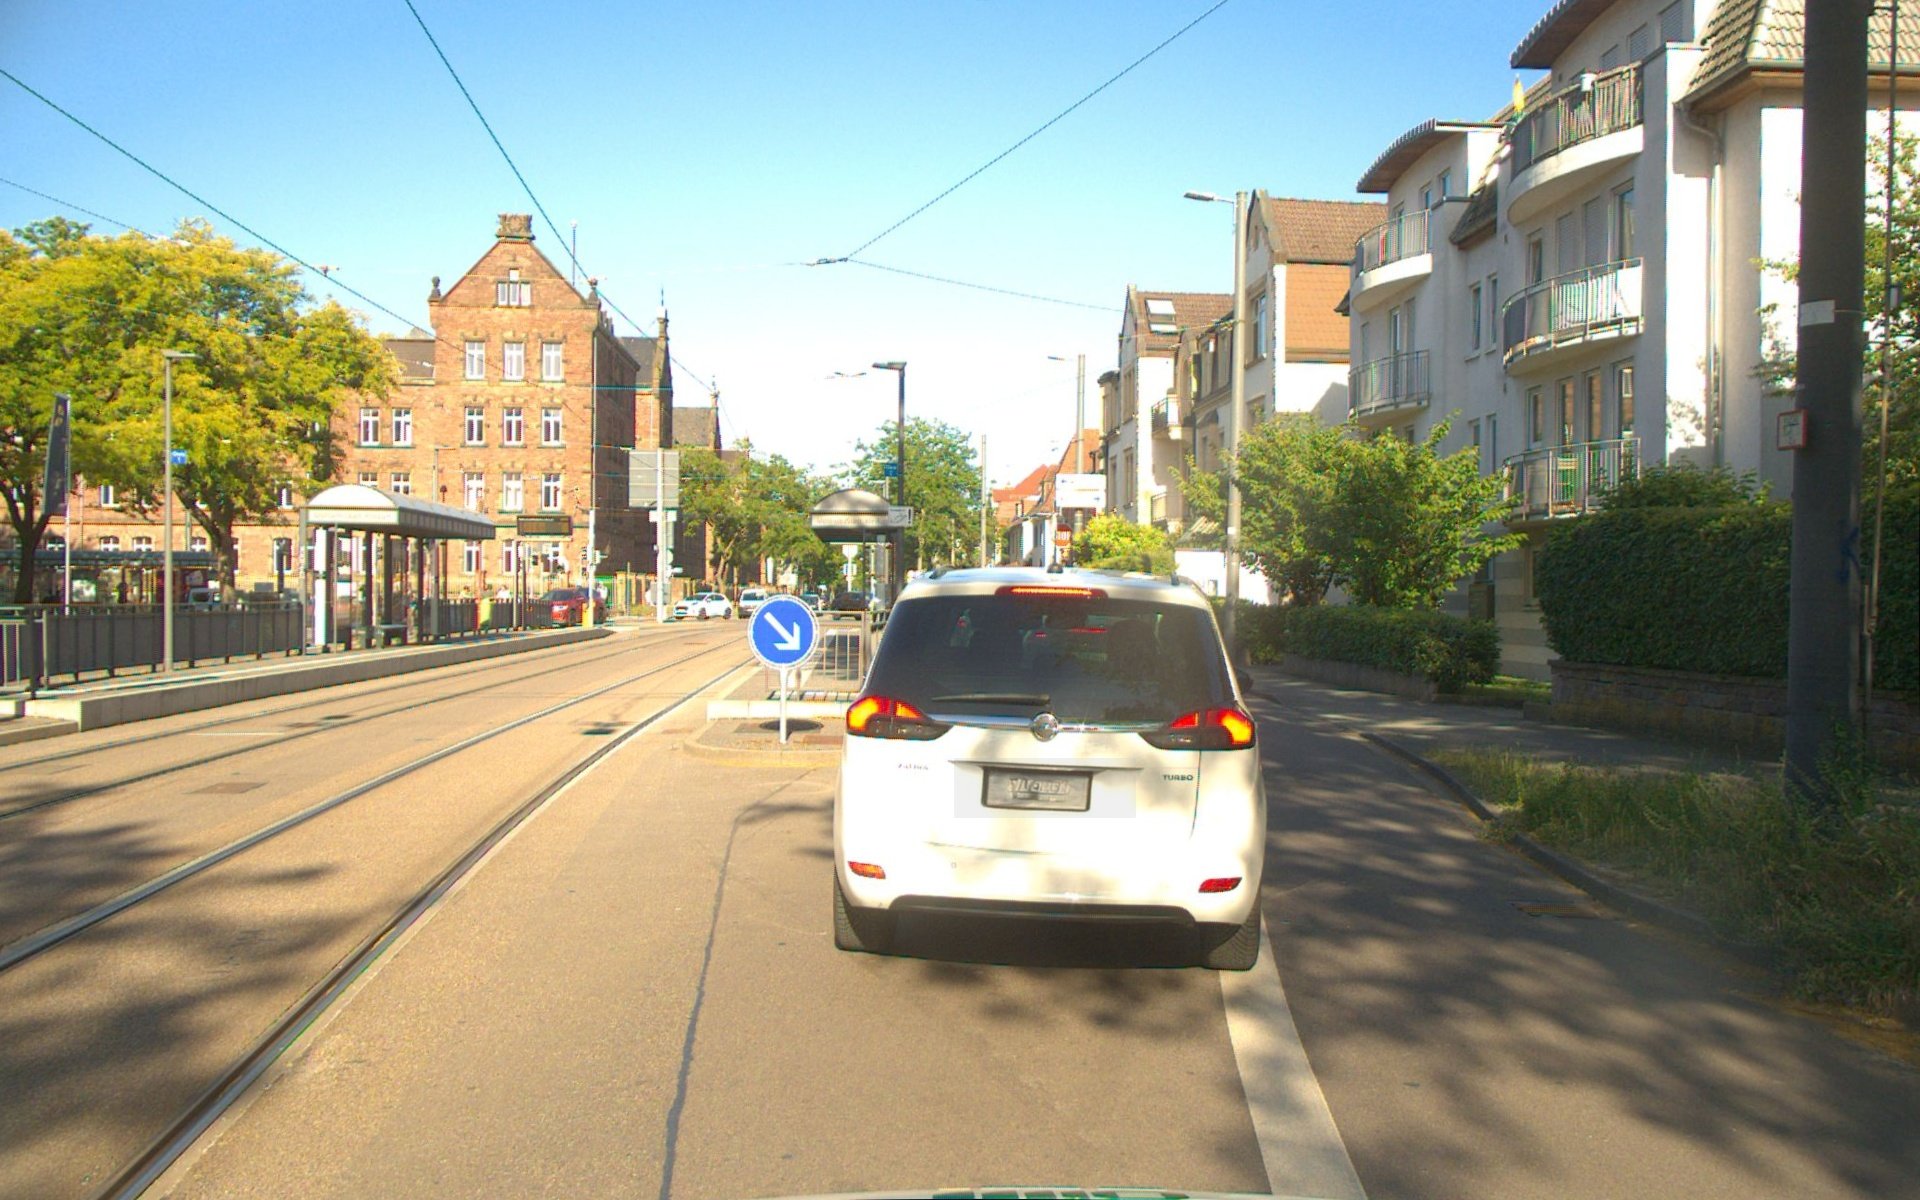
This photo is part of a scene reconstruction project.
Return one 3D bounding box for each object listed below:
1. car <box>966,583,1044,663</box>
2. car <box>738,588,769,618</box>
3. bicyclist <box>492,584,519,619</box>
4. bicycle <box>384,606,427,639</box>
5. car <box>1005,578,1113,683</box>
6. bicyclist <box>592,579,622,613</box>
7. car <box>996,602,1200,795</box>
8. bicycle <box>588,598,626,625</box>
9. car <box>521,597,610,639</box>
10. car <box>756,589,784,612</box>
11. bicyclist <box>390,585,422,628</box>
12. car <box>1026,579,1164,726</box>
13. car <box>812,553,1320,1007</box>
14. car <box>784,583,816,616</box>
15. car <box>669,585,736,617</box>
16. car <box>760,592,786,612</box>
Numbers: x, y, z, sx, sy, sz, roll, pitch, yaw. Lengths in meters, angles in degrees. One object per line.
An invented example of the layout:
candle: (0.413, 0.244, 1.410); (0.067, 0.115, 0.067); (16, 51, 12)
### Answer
car: (0.957, 0.495, 36.791); (1.563, 1.663, 3.900); (1, 0, -1)
car: (-13.063, 0.171, 104.575); (1.793, 1.819, 4.246); (0, 0, -9)
bicyclist: (-19.401, 0.056, 70.582); (0.740, 1.496, 1.191); (0, 0, 4)
bicycle: (-19.171, 0.766, 57.231); (0.670, 1.108, 2.065); (0, 0, 4)
car: (1.686, 0.493, 29.189); (1.563, 1.663, 3.900); (2, 0, -1)
bicyclist: (-16.631, -0.175, 77.944); (0.745, 1.563, 1.348); (-1, 0, 21)
car: (1.227, 0.766, 14.794); (1.536, 1.426, 3.786); (2, 0, 5)
bicycle: (-16.623, 0.532, 77.910); (0.761, 1.252, 2.088); (0, 0, 21)
car: (-15.983, 0.688, 67.187); (1.779, 1.635, 4.363); (0, 0, 13)
car: (-13.971, 0.064, 121.916); (1.791, 1.645, 4.324); (1, -1, -4)
bicyclist: (-19.169, 0.217, 57.234); (0.639, 1.485, 1.153); (0, 0, 4)
car: (1.716, 0.592, 21.053); (1.536, 1.643, 3.786); (2, 0, 5)
car: (0.545, 0.644, 8.093); (1.838, 1.613, 4.002); (1, 0, 5)
car: (-10.145, -0.059, 105.159); (1.955, 2.049, 3.996); (0, 0, -5)
car: (-14.887, 0.045, 95.741); (1.667, 1.841, 3.990); (0, 0, 32)
car: (-14.739, 0.160, 130.643); (1.791, 1.471, 4.324); (1, -1, -4)
